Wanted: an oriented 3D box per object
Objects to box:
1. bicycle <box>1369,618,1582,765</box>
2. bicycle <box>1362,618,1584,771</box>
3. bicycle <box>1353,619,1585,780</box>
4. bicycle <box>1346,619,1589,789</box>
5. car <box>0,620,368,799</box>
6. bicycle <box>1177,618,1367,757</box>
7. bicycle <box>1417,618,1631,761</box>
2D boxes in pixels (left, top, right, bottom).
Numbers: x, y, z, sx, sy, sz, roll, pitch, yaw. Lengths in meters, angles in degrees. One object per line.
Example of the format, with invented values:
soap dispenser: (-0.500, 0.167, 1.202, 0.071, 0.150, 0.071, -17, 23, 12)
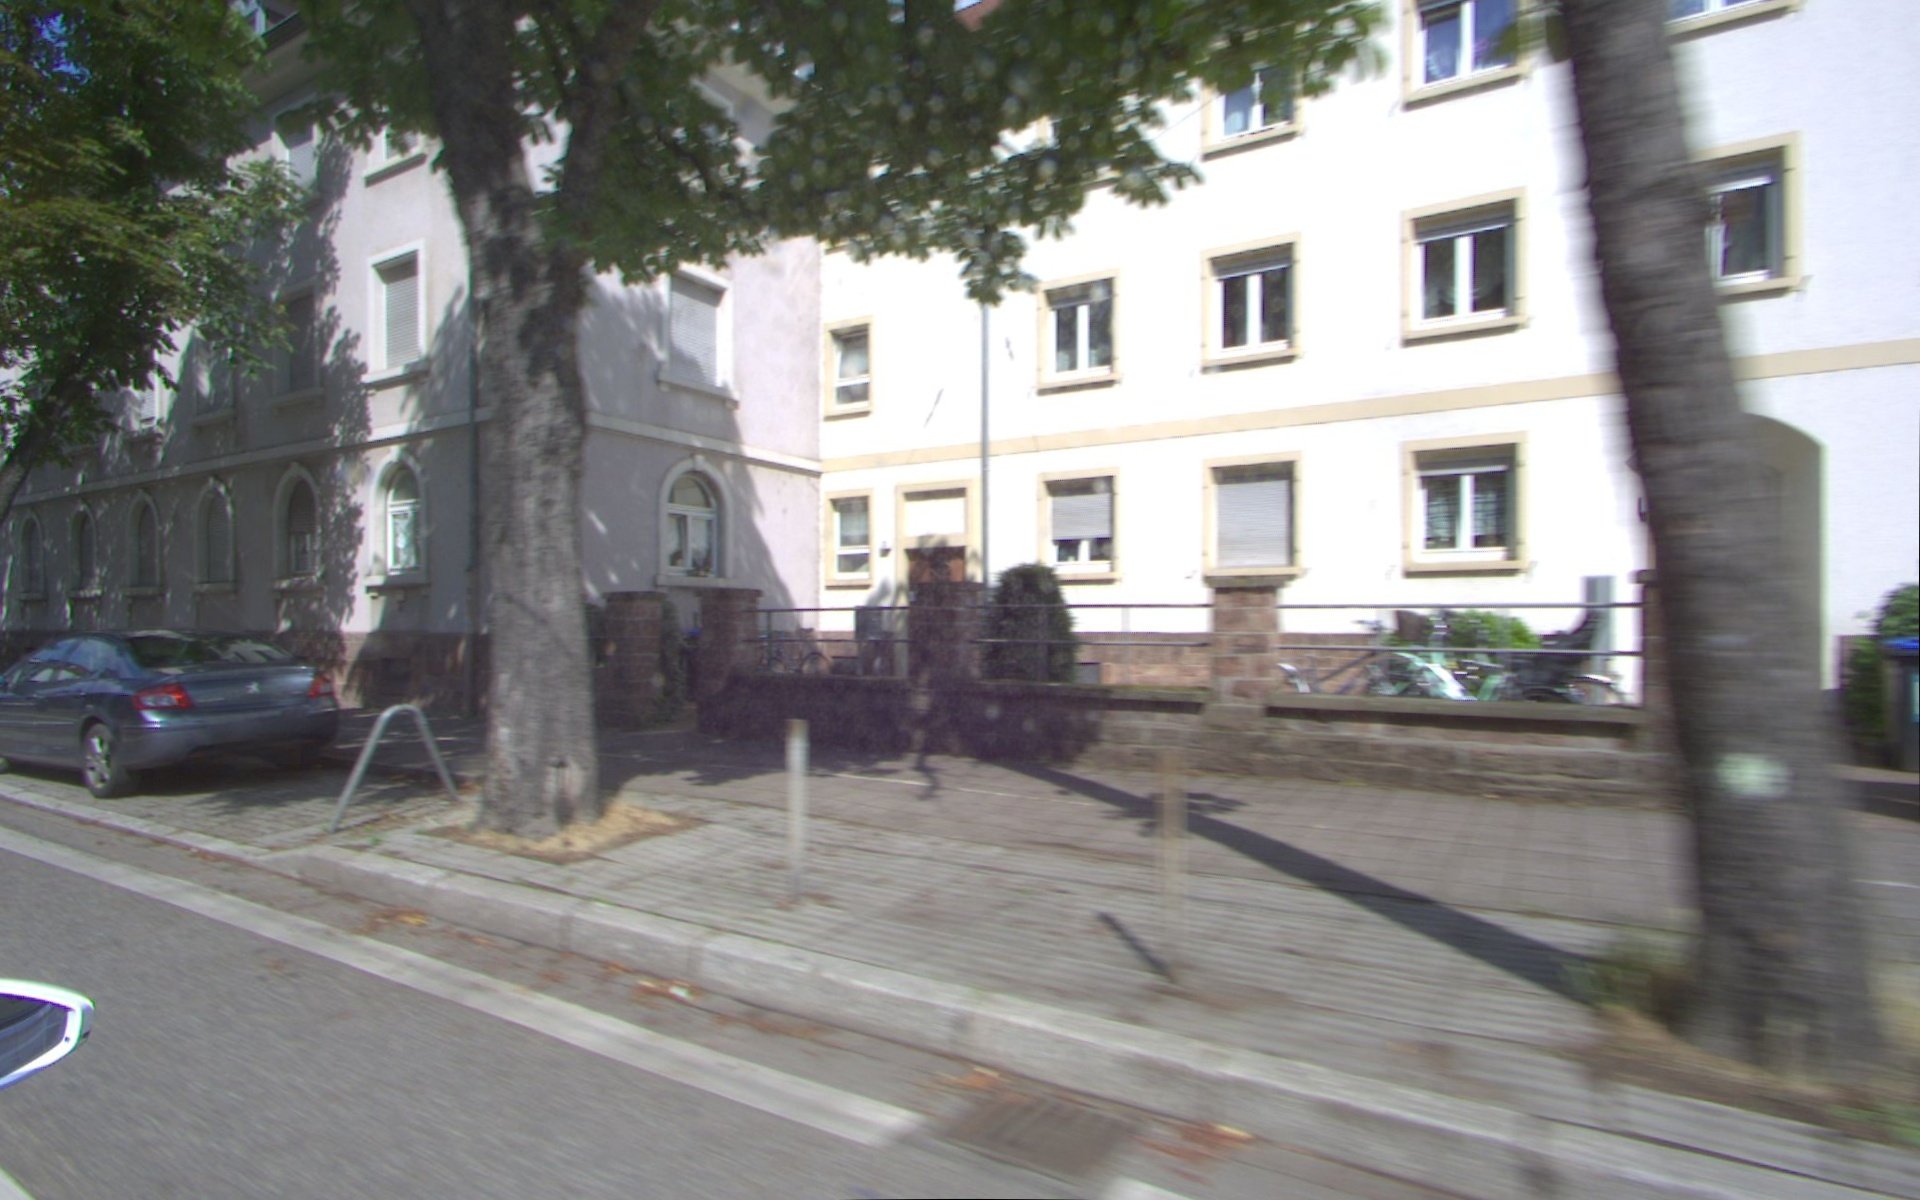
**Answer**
bicycle: (4.610, 0.780, 9.019, 1.679, 1.227, 0.411, 0, 0, 32)
bicycle: (4.403, 0.771, 8.659, 1.679, 1.227, 0.411, 0, 0, 32)
bicycle: (4.171, 0.774, 8.272, 1.679, 1.227, 0.411, 0, 0, 32)
bicycle: (3.970, 0.769, 7.902, 1.679, 1.227, 0.411, 0, 0, 32)
car: (-8.194, 0.950, 10.127, 4.327, 1.428, 1.844, -1, 1, 29)
bicycle: (2.938, 0.788, 9.503, 1.679, 1.227, 0.411, 0, 0, 32)
bicycle: (5.136, 0.777, 9.191, 1.679, 1.227, 0.411, 0, 0, 32)
